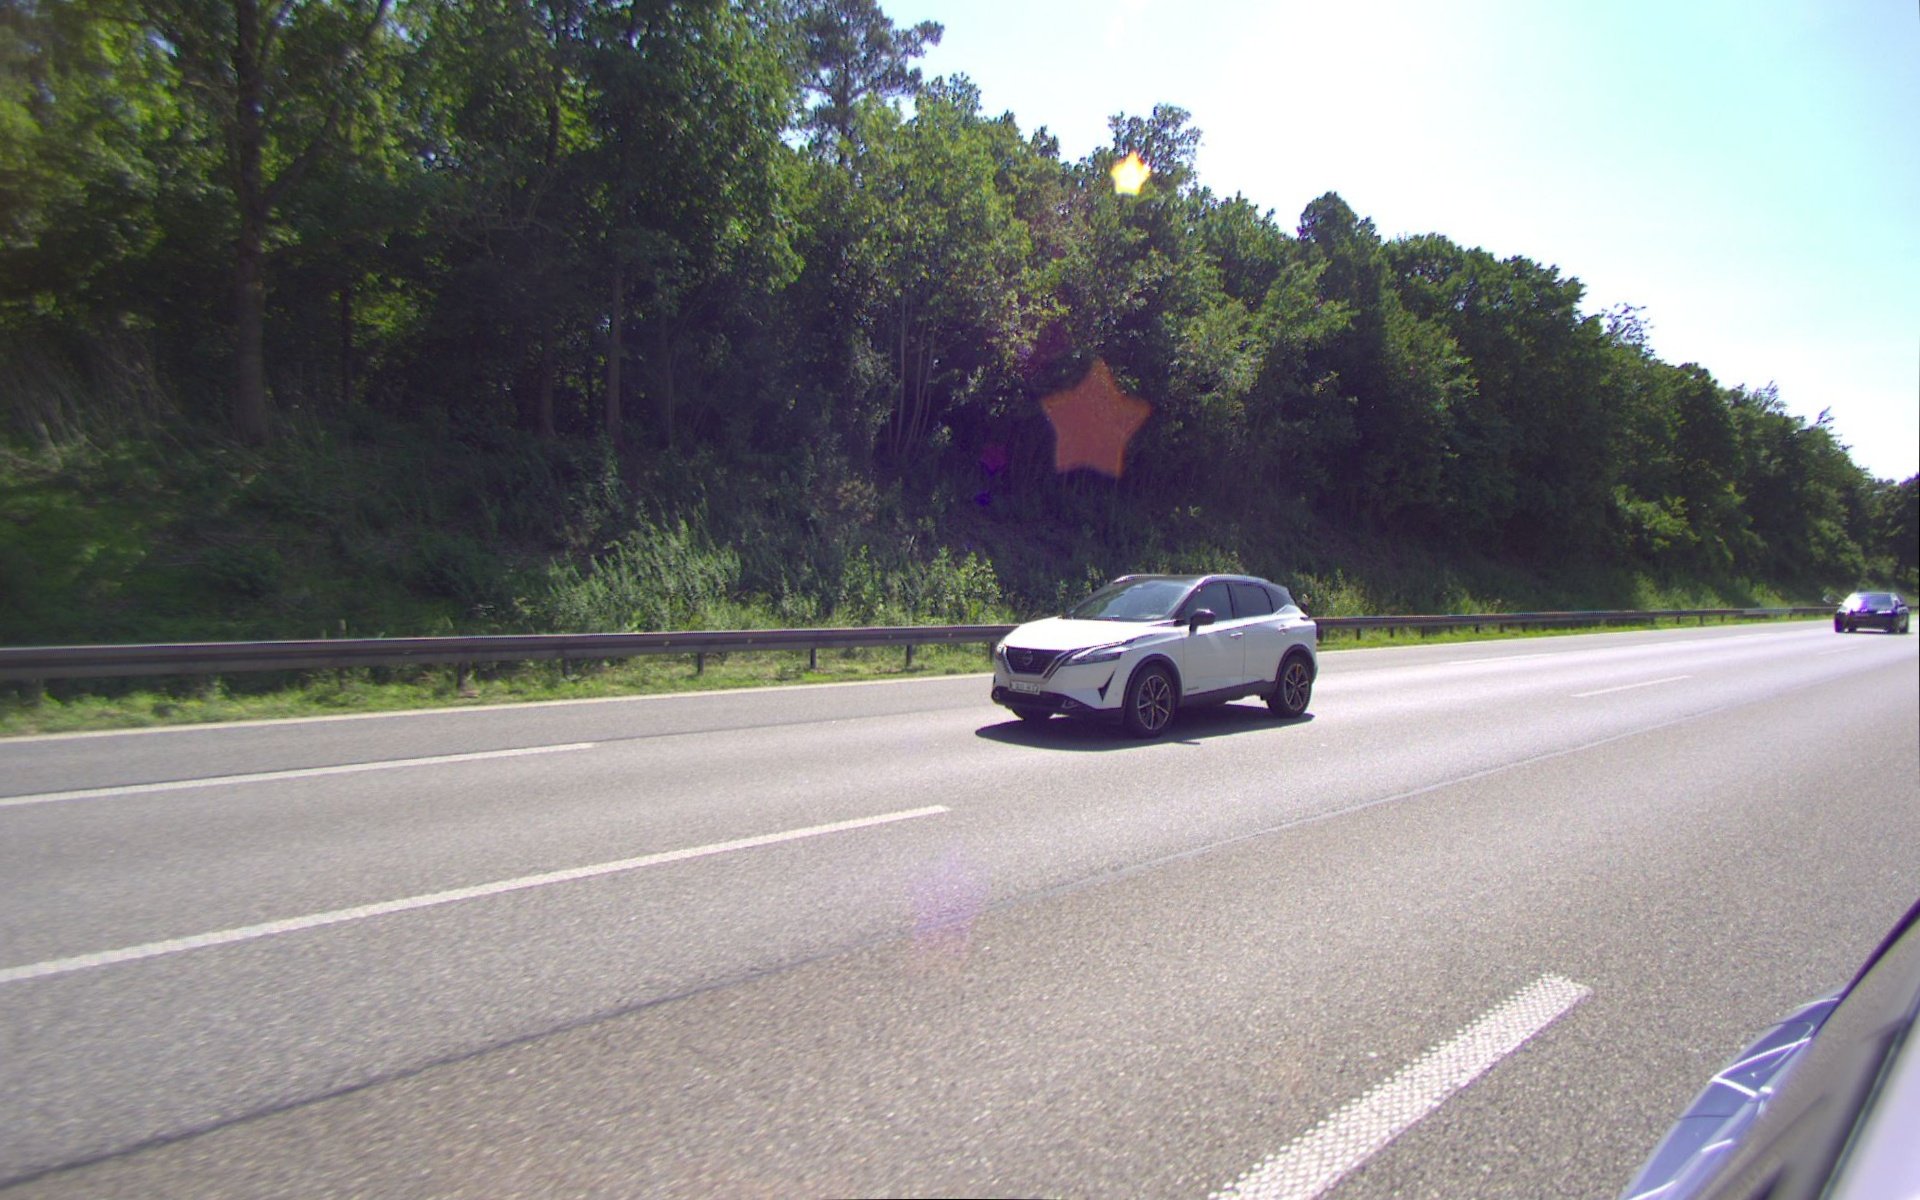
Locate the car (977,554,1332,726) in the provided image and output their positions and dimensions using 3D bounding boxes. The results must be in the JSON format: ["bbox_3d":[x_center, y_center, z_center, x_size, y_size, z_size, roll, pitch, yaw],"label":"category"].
[{"bbox_3d":[2.280,0.361,11.331,3.964,1.588,1.847,0,0,-40],"label":"car"}]

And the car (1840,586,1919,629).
[{"bbox_3d":[38.378,0.274,42.092,4.602,1.690,1.924,0,0,-39],"label":"car"}]
